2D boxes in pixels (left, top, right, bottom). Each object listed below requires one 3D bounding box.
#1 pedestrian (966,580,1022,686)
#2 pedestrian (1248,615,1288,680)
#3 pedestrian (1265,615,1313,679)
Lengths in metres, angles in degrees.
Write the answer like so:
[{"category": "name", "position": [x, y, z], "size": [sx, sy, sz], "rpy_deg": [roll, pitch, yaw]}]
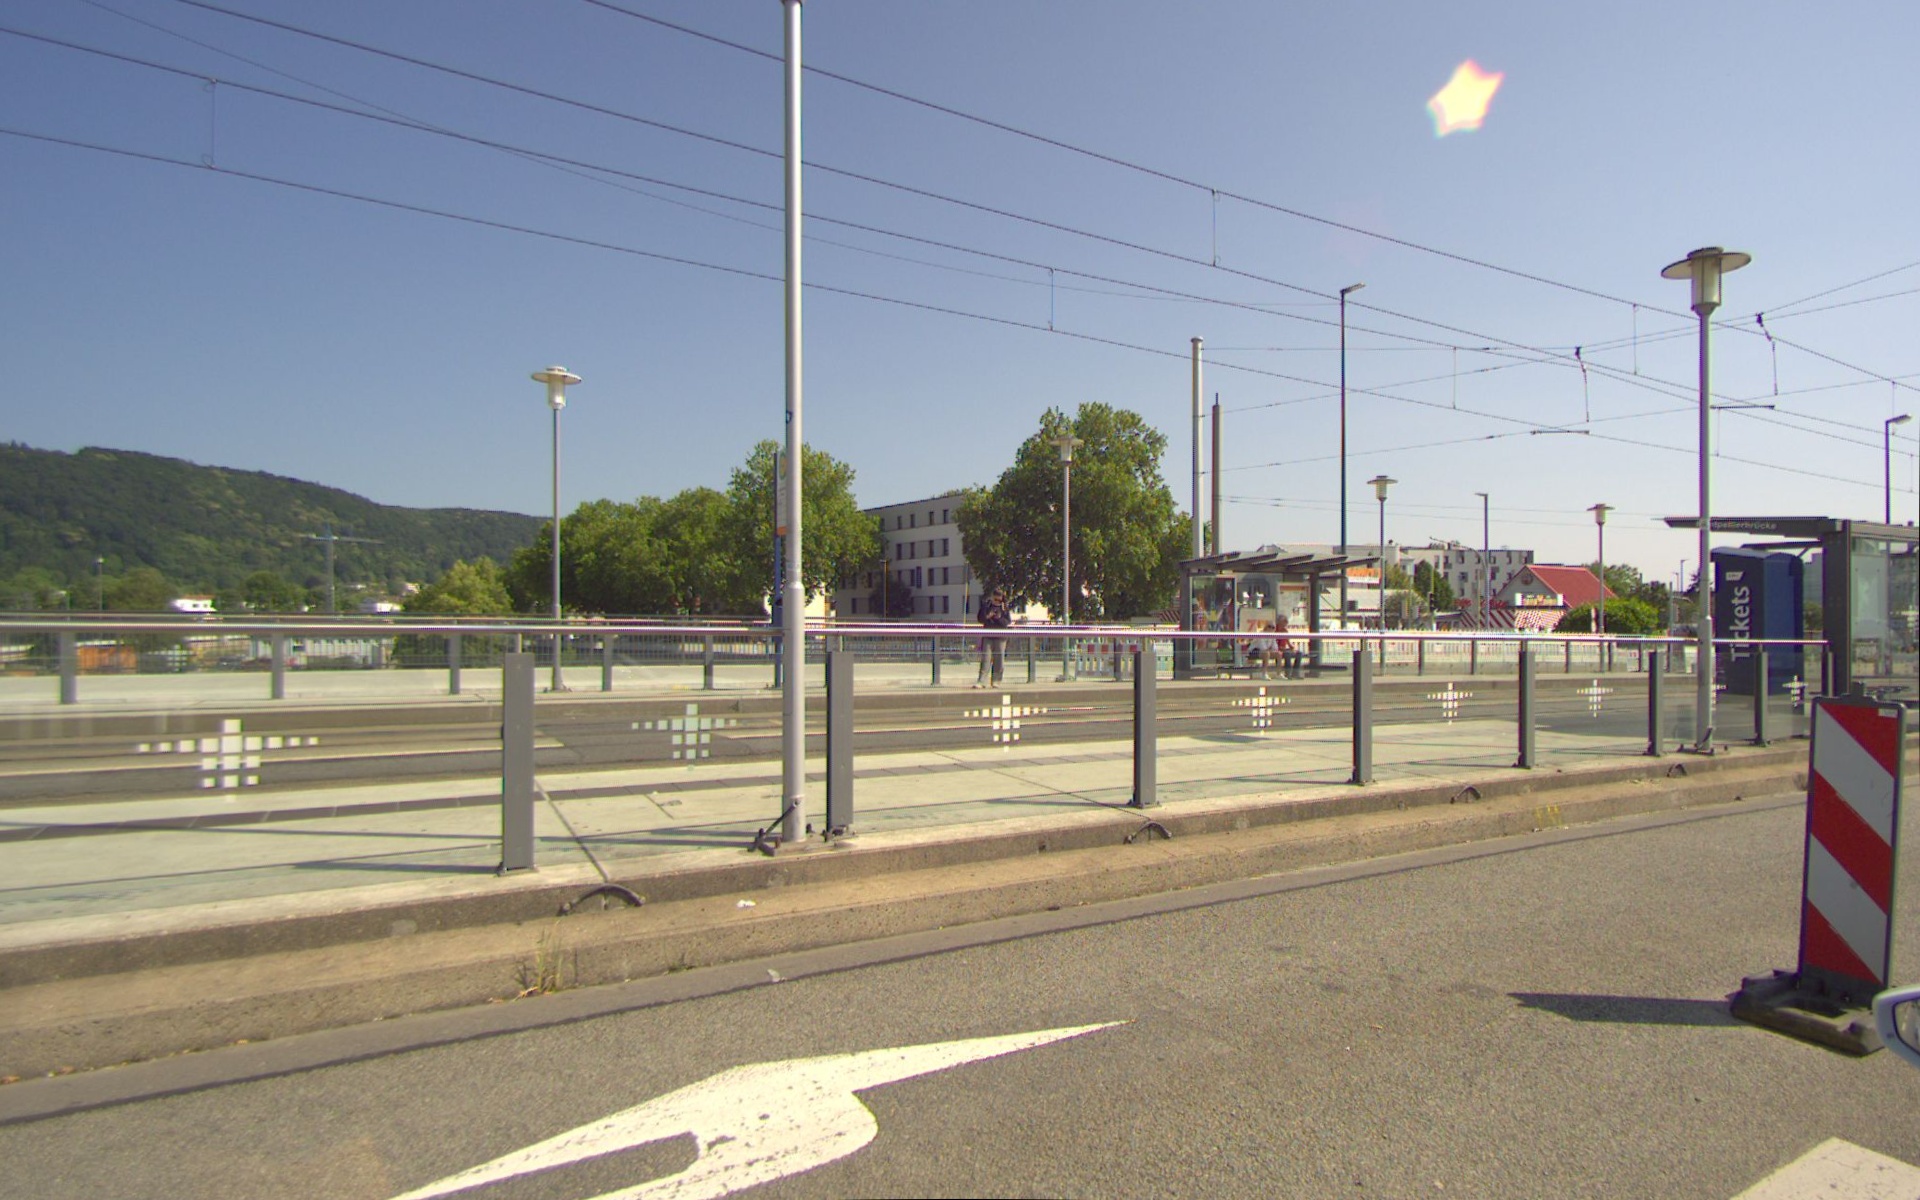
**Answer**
[{"category": "pedestrian", "position": [0.554, 0.534, 16.340], "size": [0.728, 1.676, 0.659], "rpy_deg": [0, 0, -19]}, {"category": "pedestrian", "position": [6.255, 0.948, 20.408], "size": [0.447, 1.291, 0.646], "rpy_deg": [1, 0, -27]}, {"category": "pedestrian", "position": [6.769, 0.954, 20.675], "size": [0.688, 1.291, 0.646], "rpy_deg": [1, 0, -27]}]
